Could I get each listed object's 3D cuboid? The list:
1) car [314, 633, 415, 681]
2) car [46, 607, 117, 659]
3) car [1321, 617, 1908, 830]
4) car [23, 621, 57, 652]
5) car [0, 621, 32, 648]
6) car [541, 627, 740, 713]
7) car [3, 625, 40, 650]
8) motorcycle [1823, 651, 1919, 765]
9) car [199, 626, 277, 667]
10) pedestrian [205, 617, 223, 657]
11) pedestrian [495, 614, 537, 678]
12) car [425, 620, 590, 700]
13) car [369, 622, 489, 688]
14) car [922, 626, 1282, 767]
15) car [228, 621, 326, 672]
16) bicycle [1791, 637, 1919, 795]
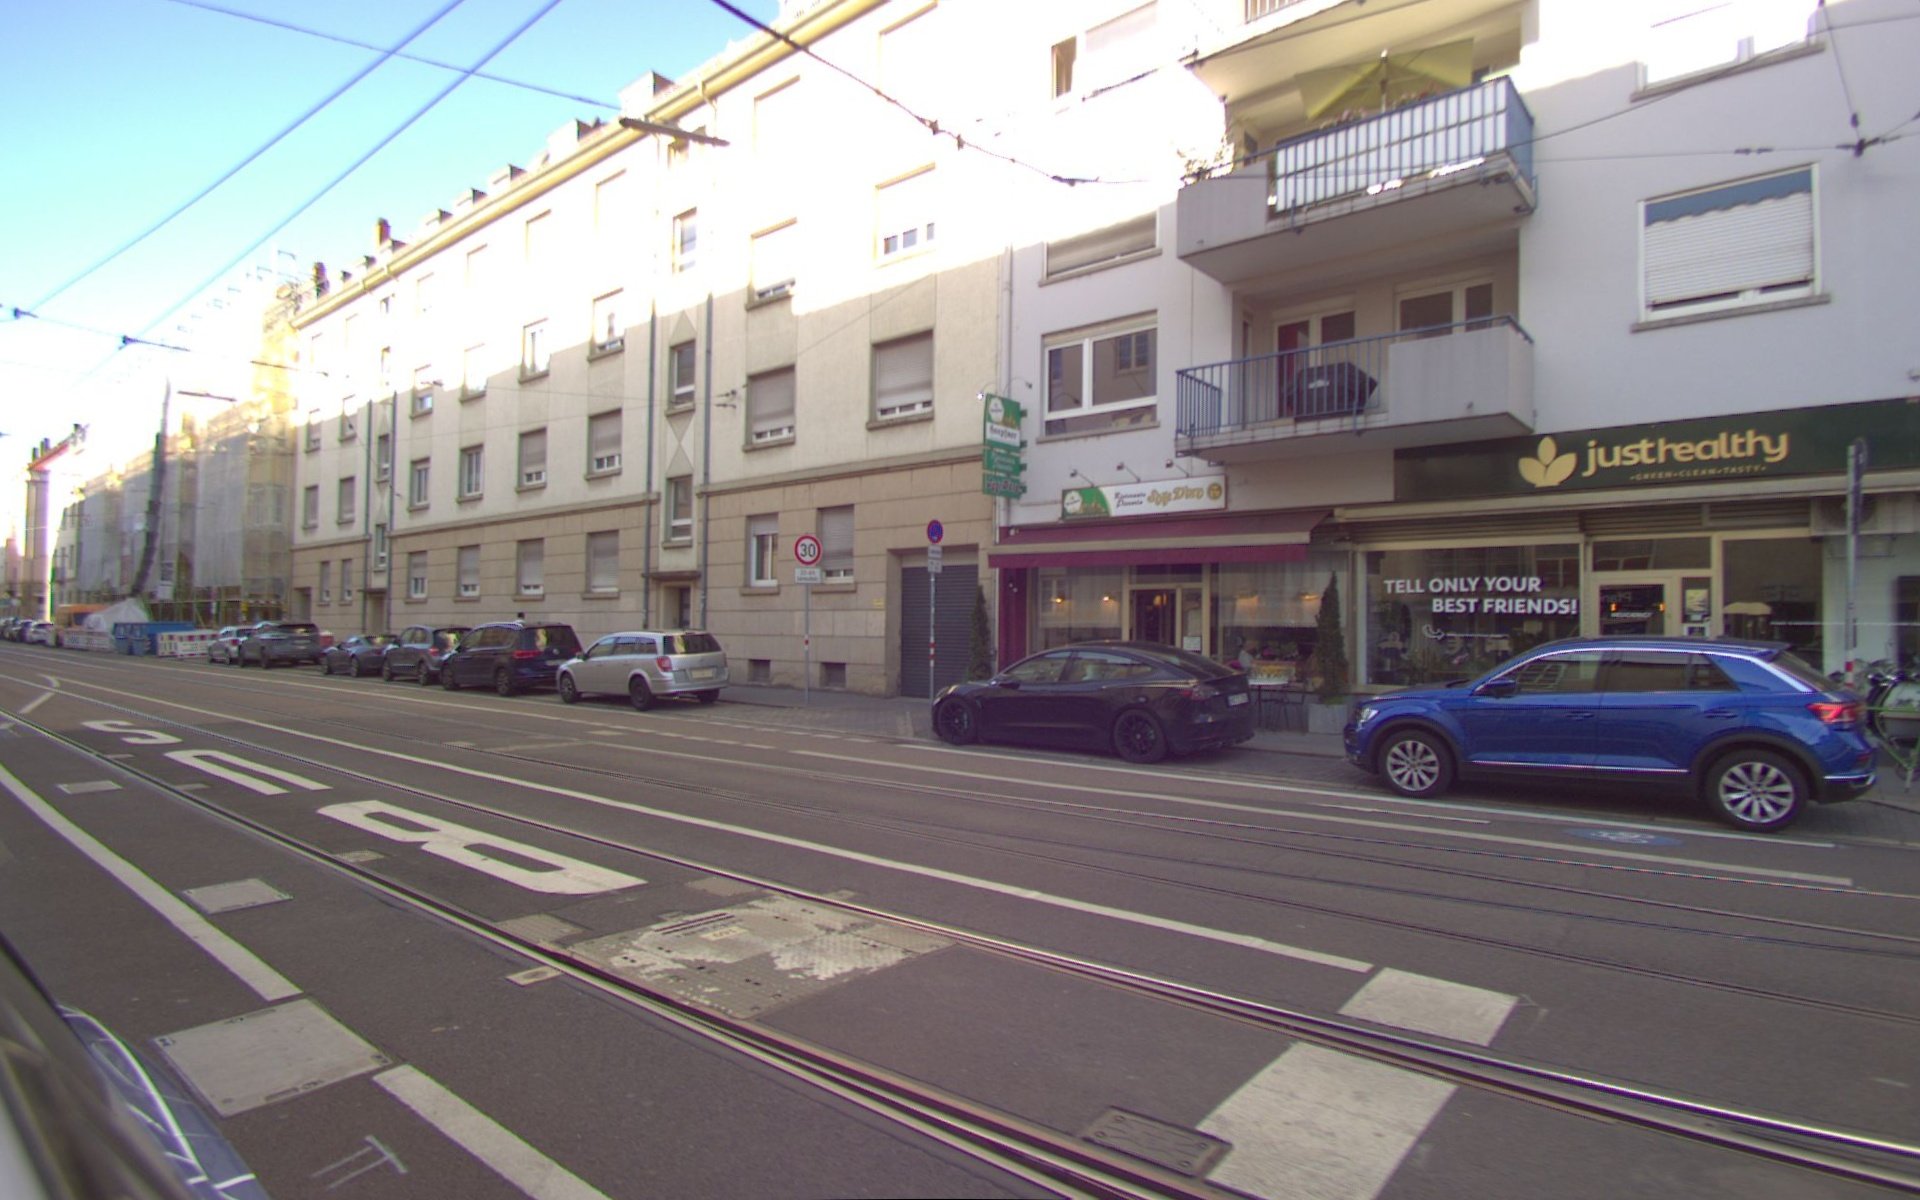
[{"bbox_3d":[-17.694,1.653,30.007,3.520,1.229,1.457,-1,0,40],"label":"car"},{"bbox_3d":[-48.678,1.795,56.015,5.871,2.717,2.186,-1,0,41],"label":"car"},{"bbox_3d":[5.793,0.979,9.420,4.232,1.515,1.752,-2,-1,39],"label":"car"},{"bbox_3d":[-61.630,2.430,67.825,1.634,1.937,3.770,0,0,-42],"label":"car"},{"bbox_3d":[-71.206,2.568,76.187,4.183,1.971,1.549,-1,0,42],"label":"car"},{"bbox_3d":[-6.470,1.318,20.274,4.367,1.465,1.708,-1,0,40],"label":"car"},{"bbox_3d":[-66.403,2.611,71.616,3.935,1.696,1.549,-1,0,42],"label":"car"},{"bbox_3d":[10.250,1.140,10.618,1.795,1.143,0.600,-1,0,41],"label":"motorcycle"},{"bbox_3d":[-27.396,1.735,38.393,3.505,1.390,1.545,-1,0,39],"label":"car"},{"bbox_3d":[-35.365,1.732,47.978,0.762,1.886,0.512,-1,-1,41],"label":"pedestrian"},{"bbox_3d":[-12.670,1.287,28.877,1.003,1.781,0.656,-1,0,34],"label":"pedestrian"},{"bbox_3d":[-10.703,1.323,23.801,4.321,1.645,1.796,-1,0,40],"label":"car"},{"bbox_3d":[-14.201,1.416,26.991,3.593,1.570,1.622,-1,0,41],"label":"car"},{"bbox_3d":[1.718,1.112,13.270,4.443,1.486,1.750,-1,0,41],"label":"car"},{"bbox_3d":[-23.945,1.589,35.423,4.155,1.621,1.730,-1,0,40],"label":"car"},{"bbox_3d":[8.460,1.006,8.871,1.795,1.324,0.600,-1,0,41],"label":"bicycle"}]
